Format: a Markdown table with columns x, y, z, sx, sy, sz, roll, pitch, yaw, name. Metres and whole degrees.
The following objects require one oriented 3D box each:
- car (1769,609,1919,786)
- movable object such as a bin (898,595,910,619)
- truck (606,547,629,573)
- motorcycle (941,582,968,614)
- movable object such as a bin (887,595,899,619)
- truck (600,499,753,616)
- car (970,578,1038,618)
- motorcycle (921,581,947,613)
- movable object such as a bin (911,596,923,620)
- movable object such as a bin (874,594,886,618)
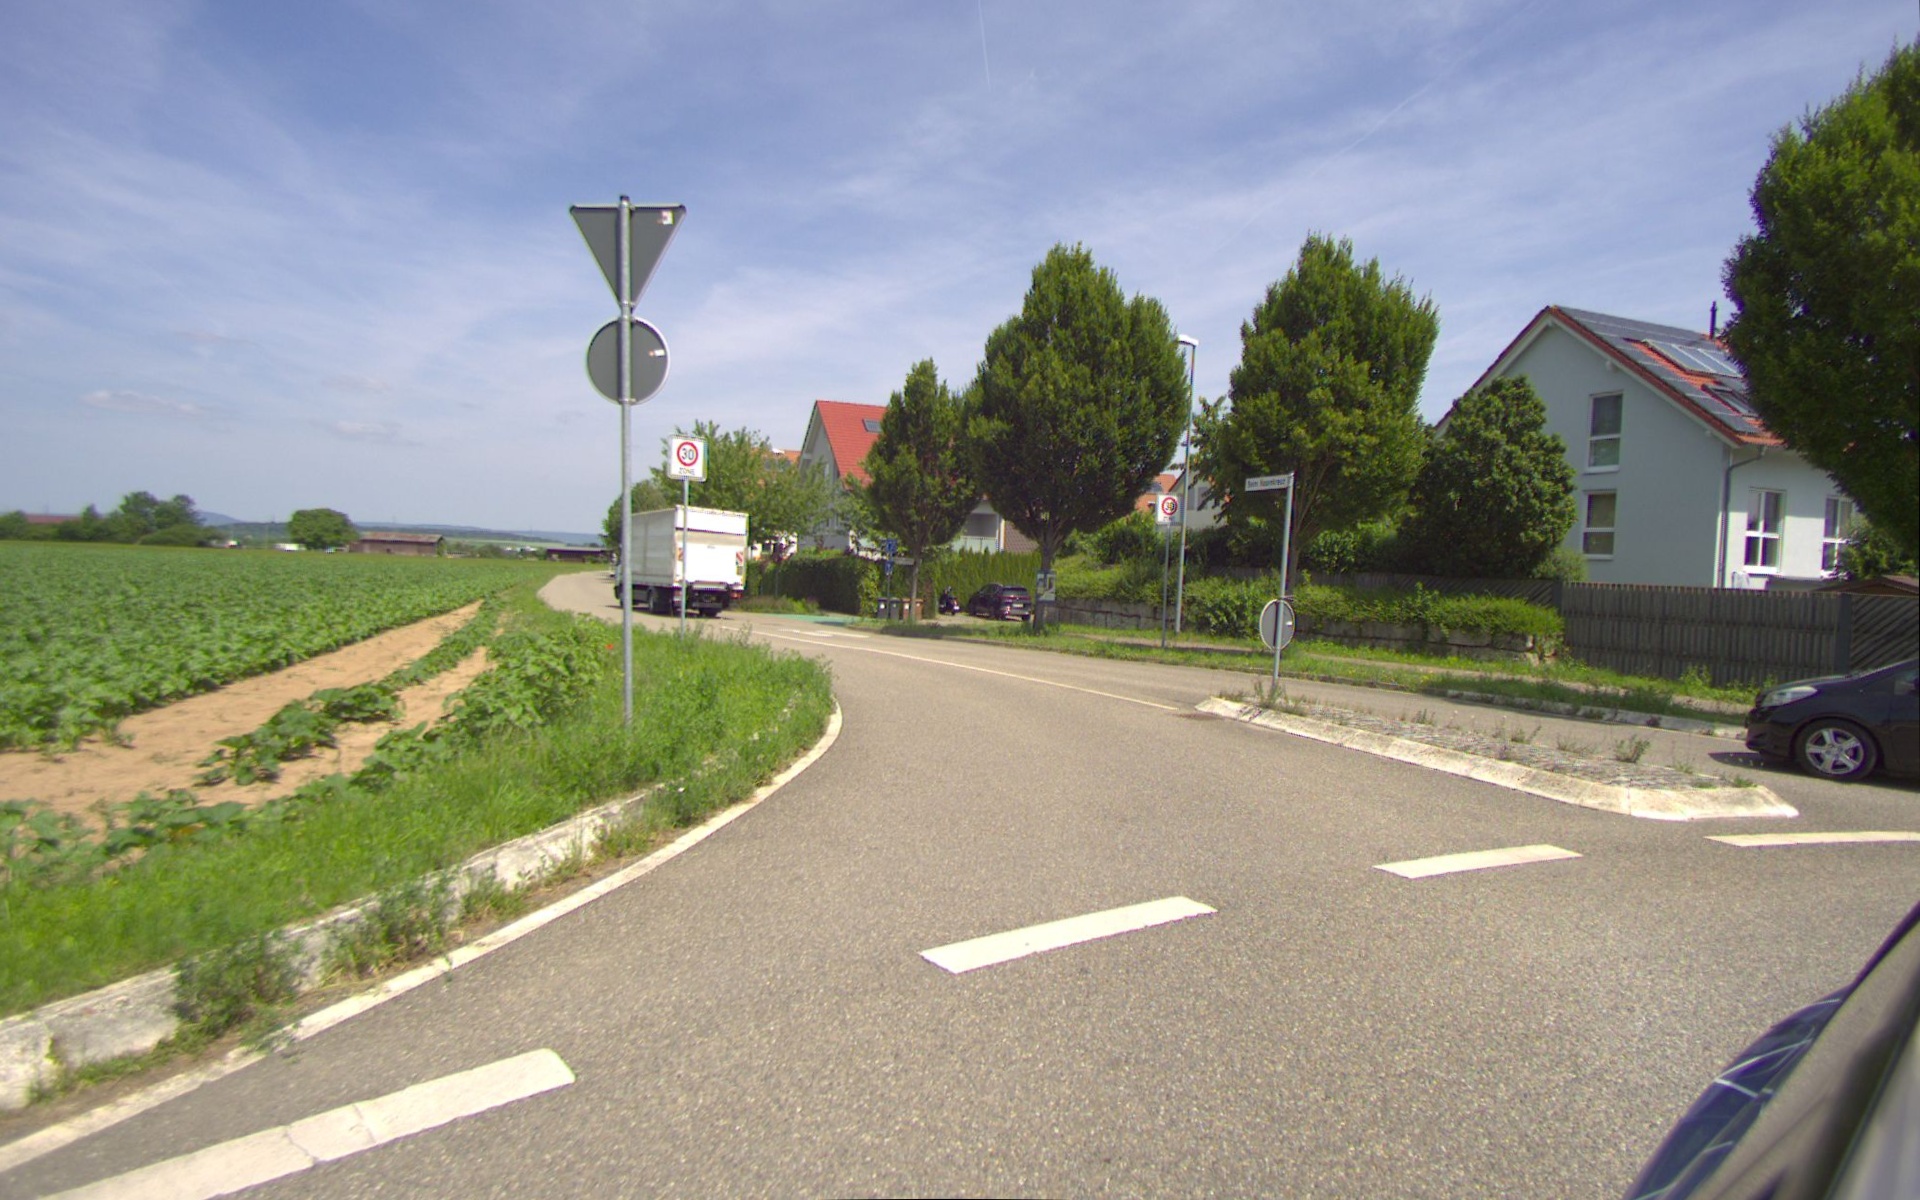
| x | y | z | sx | sy | sz | roll | pitch | yaw | name |
| --- | --- | --- | --- | --- | --- | --- | --- | --- | --- |
| 9.844 | 0.980 | 8.559 | 1.649 | 1.482 | 4.427 | 2 | 2 | -42 | car |
| -2.368 | 0.308 | 42.907 | 0.432 | 0.978 | 0.500 | 3 | 1 | -7 | movable object such as a bin |
| -41.852 | -4.872 | 123.530 | 2.062 | 2.923 | 6.793 | 2 | 1 | -23 | truck |
| -0.250 | -0.111 | 46.677 | 0.833 | 1.364 | 1.665 | 2 | 2 | -13 | motorcycle |
| -2.842 | 0.288 | 42.838 | 0.432 | 0.978 | 0.500 | 3 | 1 | -7 | movable object such as a bin |
| -10.727 | -1.528 | 37.447 | 2.721 | 3.717 | 9.390 | 3 | 0 | -32 | truck |
| 1.967 | -0.113 | 46.383 | 1.676 | 1.571 | 4.010 | 2 | 2 | -20 | car |
| -1.211 | -0.132 | 46.431 | 0.833 | 1.364 | 1.665 | 2 | 2 | -13 | motorcycle |
| -1.830 | 0.331 | 42.972 | 0.432 | 0.978 | 0.500 | 3 | 1 | -7 | movable object such as a bin |
| -3.392 | 0.264 | 42.764 | 0.432 | 0.978 | 0.500 | 3 | 1 | -7 | movable object such as a bin |
